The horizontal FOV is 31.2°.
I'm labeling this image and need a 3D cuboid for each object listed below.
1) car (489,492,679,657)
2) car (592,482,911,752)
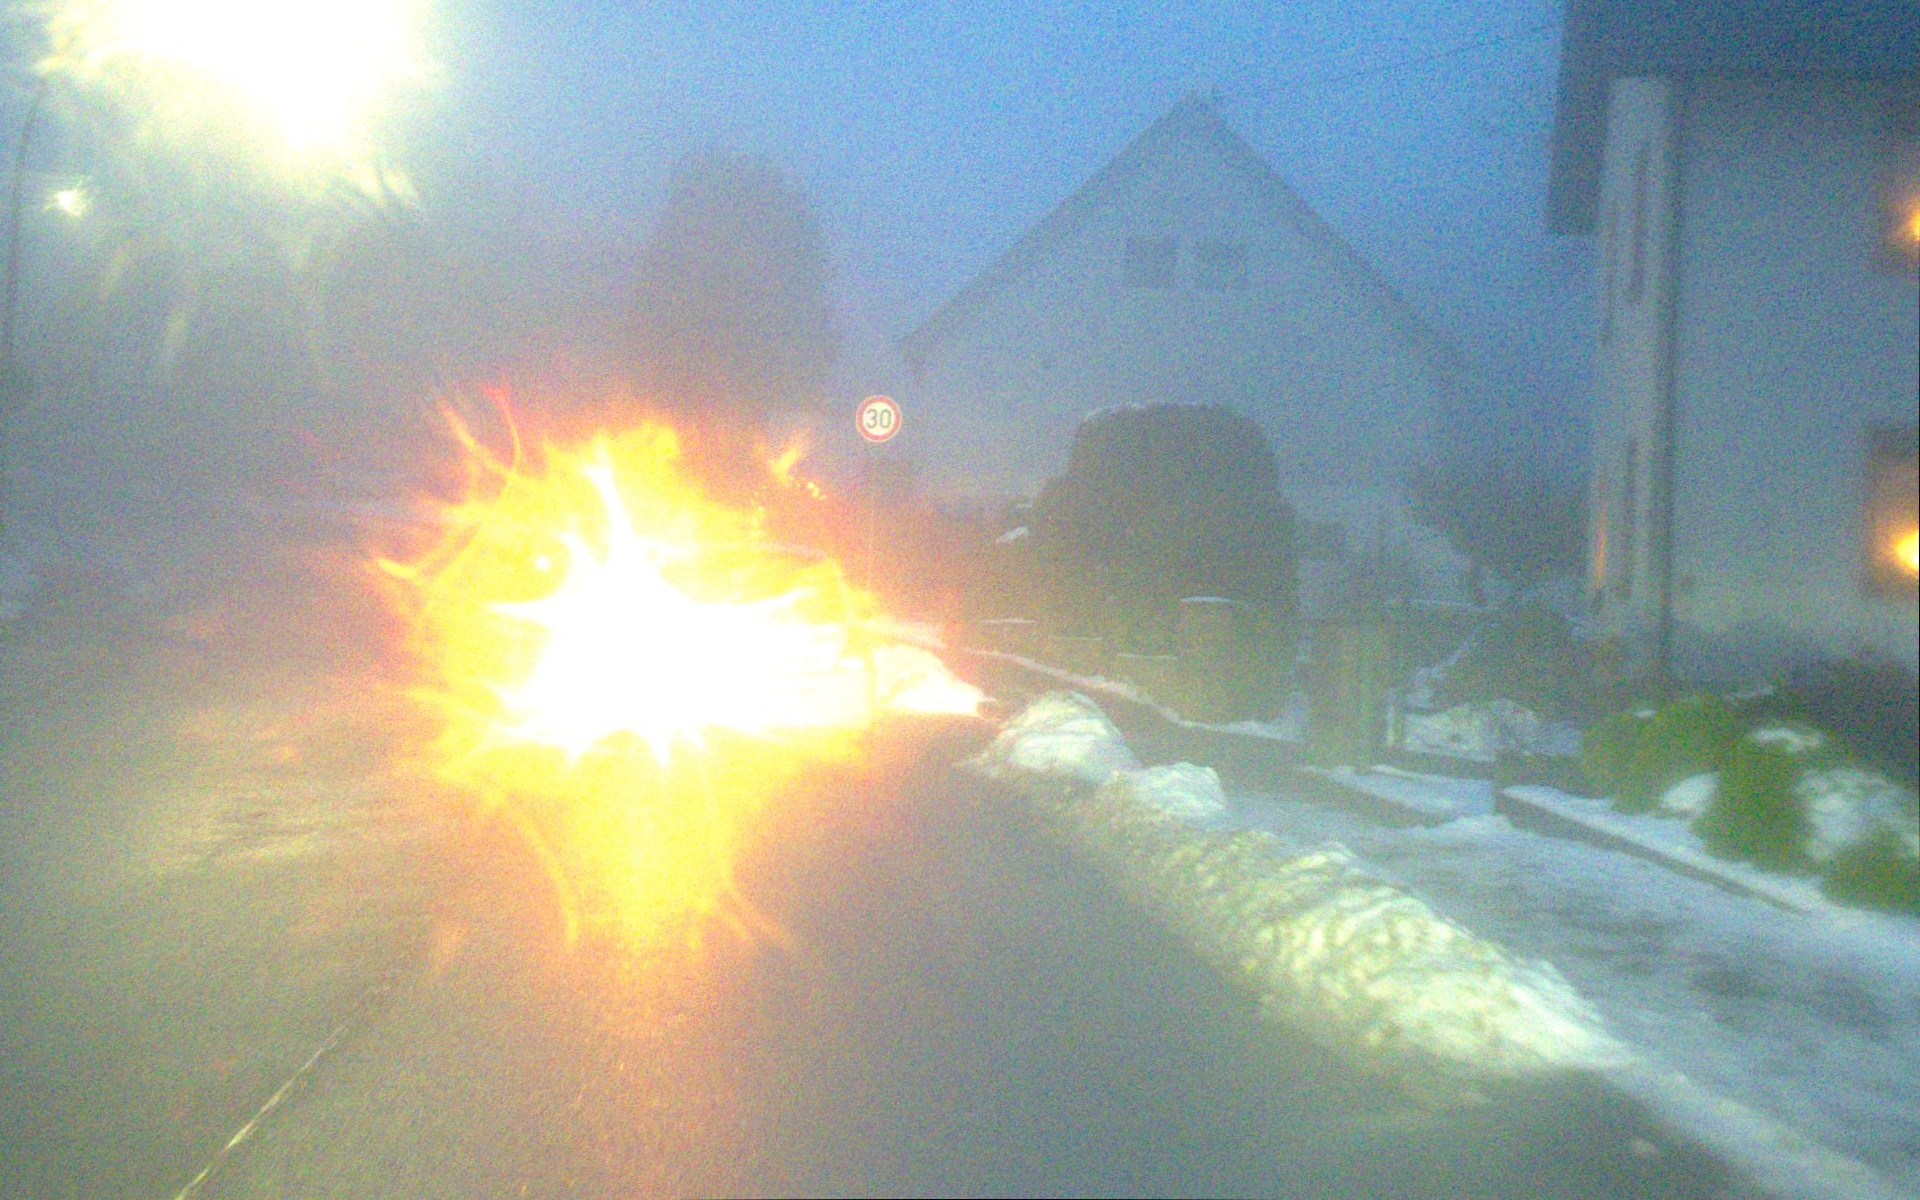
[{"bbox_3d":[-4.250,-0.279,38.653,1.993,1.731,3.879,1,0,-7],"label":"car"},{"bbox_3d":[-1.461,0.099,22.723,1.897,1.604,4.001,1,0,-6],"label":"car"}]
